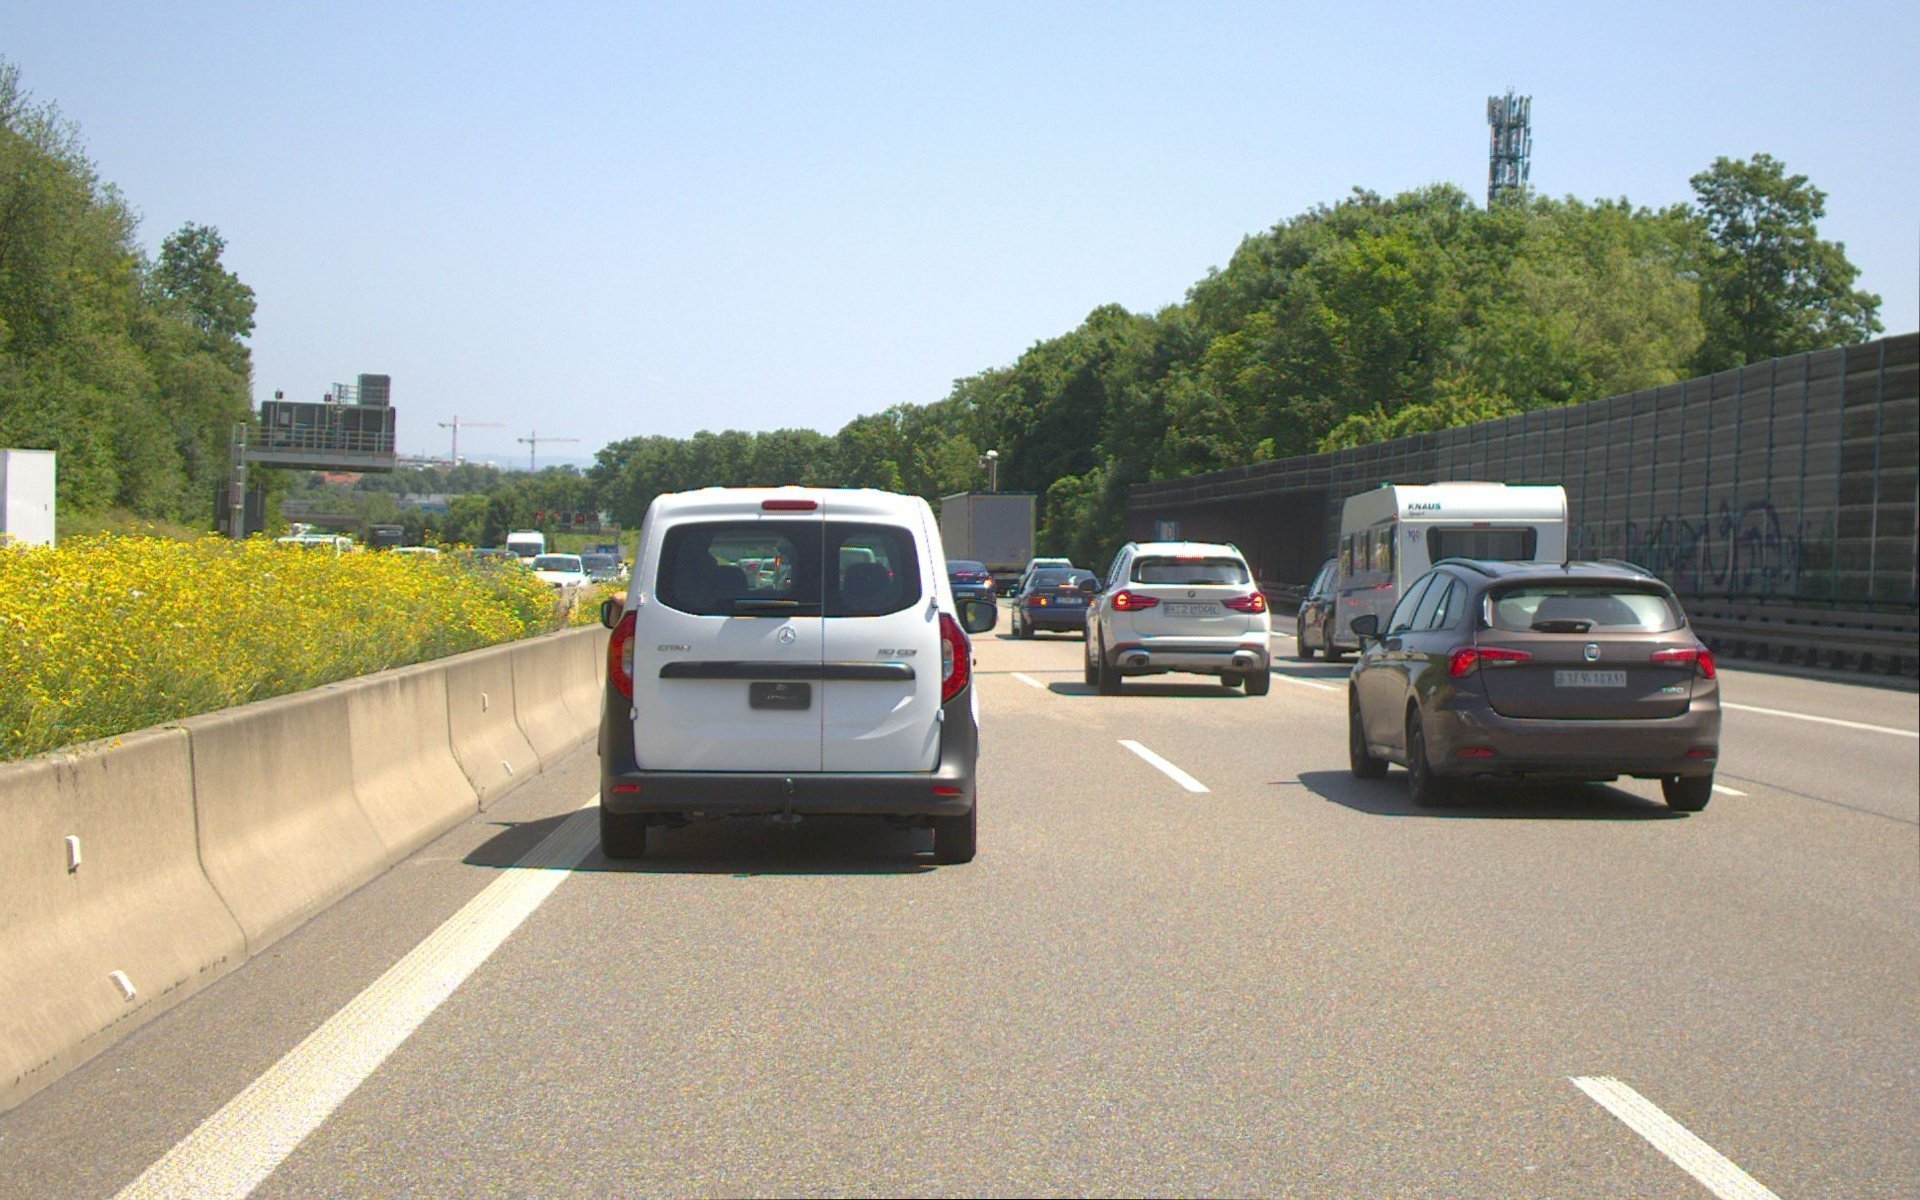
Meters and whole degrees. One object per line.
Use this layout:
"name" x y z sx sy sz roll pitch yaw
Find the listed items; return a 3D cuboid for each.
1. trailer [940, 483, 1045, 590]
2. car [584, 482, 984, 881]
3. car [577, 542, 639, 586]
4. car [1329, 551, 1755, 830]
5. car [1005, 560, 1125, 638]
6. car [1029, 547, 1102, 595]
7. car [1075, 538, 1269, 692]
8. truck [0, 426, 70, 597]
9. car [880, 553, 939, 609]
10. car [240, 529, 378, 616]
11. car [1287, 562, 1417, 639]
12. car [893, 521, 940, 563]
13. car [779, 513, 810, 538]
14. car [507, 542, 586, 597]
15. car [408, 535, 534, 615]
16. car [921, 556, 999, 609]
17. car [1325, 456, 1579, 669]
"trailer" 1.193 -2.452 134.595 3.081 3.972 10.325 1 1 -5
"car" -0.829 0.344 17.643 1.802 1.802 4.000 1 1 -1
"car" -11.281 -1.159 110.446 1.731 1.400 4.612 0 1 -3
"car" 3.520 0.481 21.611 1.838 1.508 4.402 1 1 -1
"car" 1.981 -0.039 65.922 1.824 1.419 4.001 1 1 -5
"car" 3.319 -0.924 108.624 1.824 1.419 4.001 1 1 -5
"car" 2.351 0.124 38.940 1.871 1.603 3.879 1 1 -1
"truck" -20.992 -1.865 72.492 2.735 3.463 7.315 1 1 -2
"car" -1.834 -0.692 123.598 1.824 1.982 4.001 1 0 -5
"car" -13.427 -0.591 71.128 1.993 1.696 4.530 1 1 0
"car" 7.549 -0.011 66.541 1.824 1.419 4.001 1 1 -3
"car" -2.157 -2.865 170.184 1.993 2.007 4.001 1 1 -5
"car" -12.116 -5.435 250.902 1.993 1.722 4.001 0 1 -6
"car" -10.861 -0.813 90.498 1.632 1.423 4.036 1 1 0
"car" -9.158 -0.490 64.624 1.805 1.414 4.077 1 1 0
"car" -0.018 -0.509 97.259 1.824 1.419 4.001 1 1 -5
"car" 6.767 -0.524 48.090 2.478 2.756 6.220 1 1 -2
